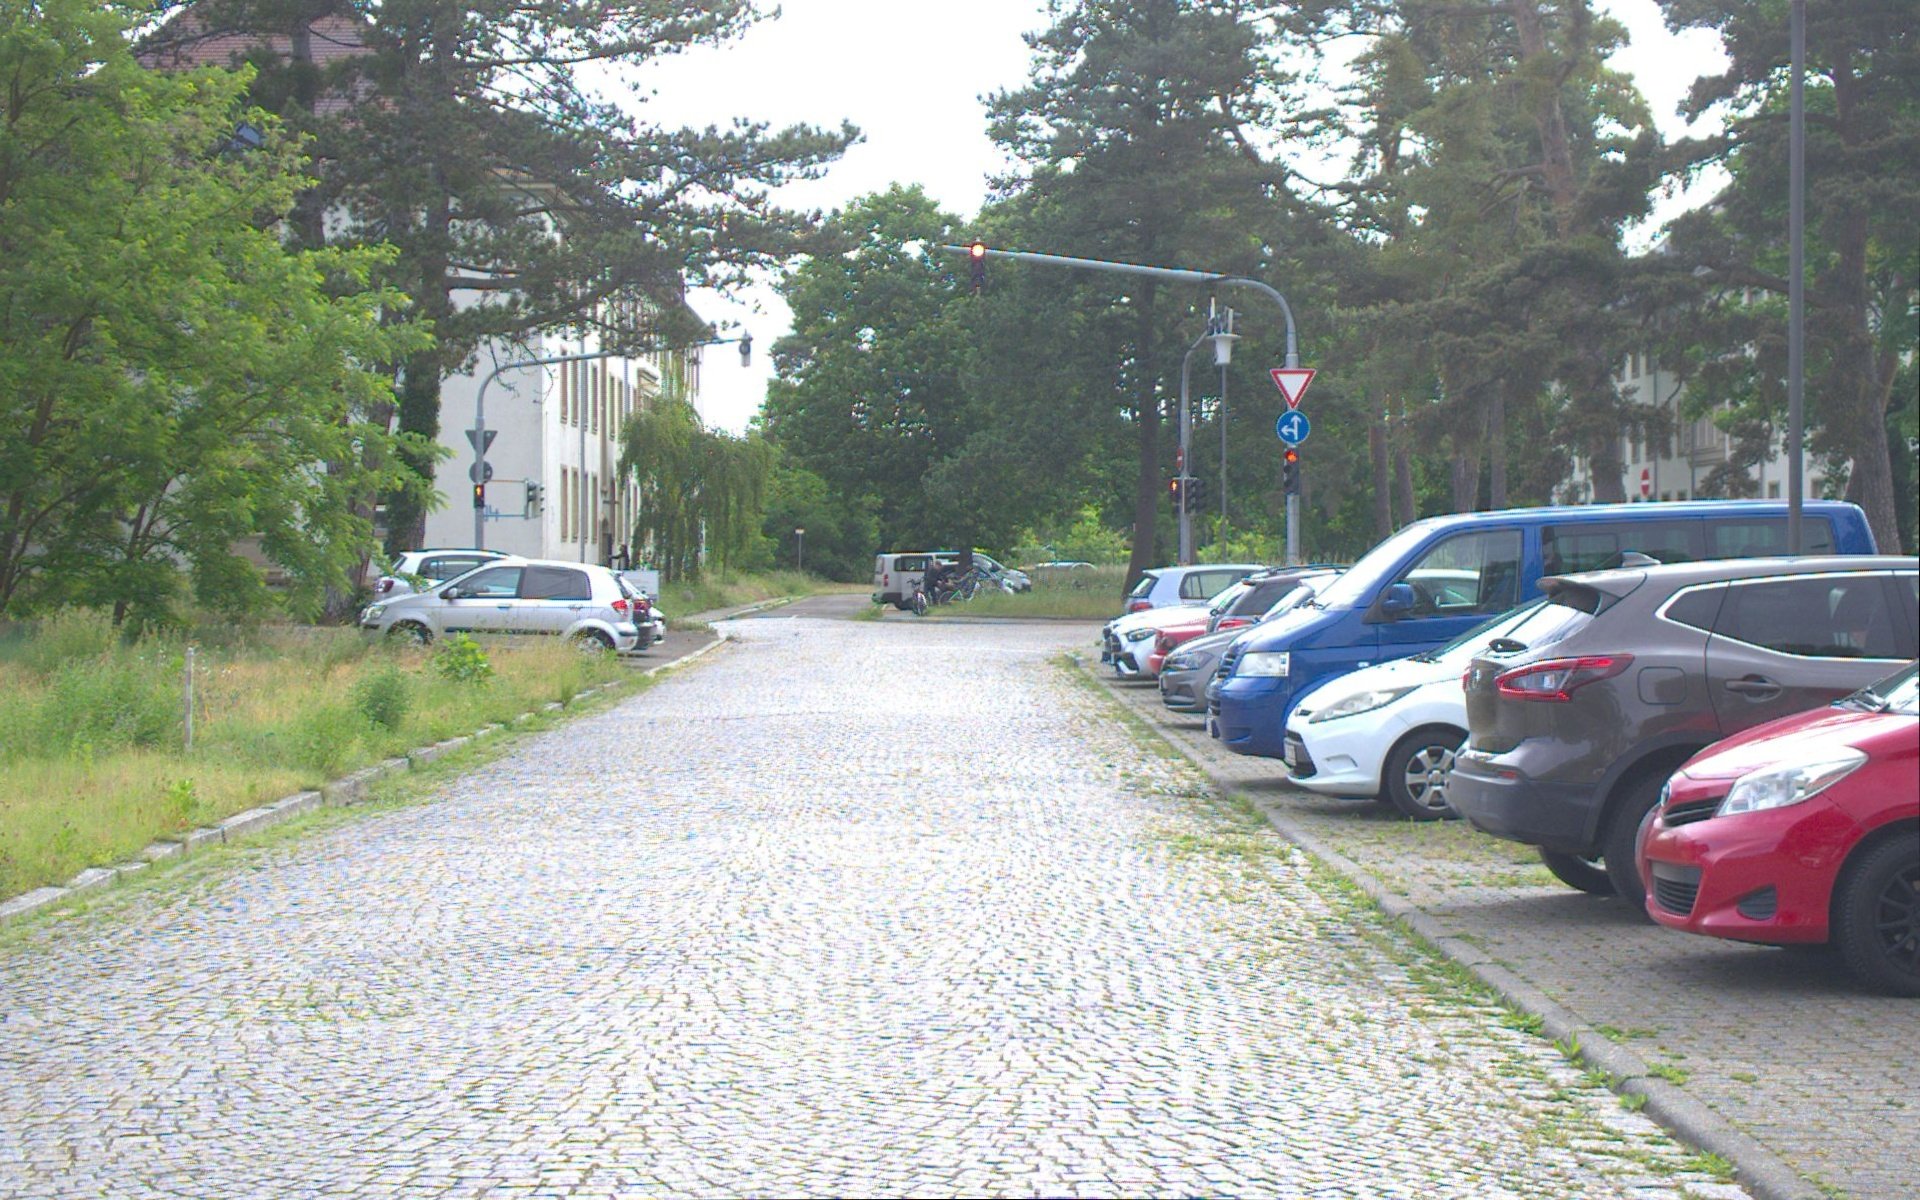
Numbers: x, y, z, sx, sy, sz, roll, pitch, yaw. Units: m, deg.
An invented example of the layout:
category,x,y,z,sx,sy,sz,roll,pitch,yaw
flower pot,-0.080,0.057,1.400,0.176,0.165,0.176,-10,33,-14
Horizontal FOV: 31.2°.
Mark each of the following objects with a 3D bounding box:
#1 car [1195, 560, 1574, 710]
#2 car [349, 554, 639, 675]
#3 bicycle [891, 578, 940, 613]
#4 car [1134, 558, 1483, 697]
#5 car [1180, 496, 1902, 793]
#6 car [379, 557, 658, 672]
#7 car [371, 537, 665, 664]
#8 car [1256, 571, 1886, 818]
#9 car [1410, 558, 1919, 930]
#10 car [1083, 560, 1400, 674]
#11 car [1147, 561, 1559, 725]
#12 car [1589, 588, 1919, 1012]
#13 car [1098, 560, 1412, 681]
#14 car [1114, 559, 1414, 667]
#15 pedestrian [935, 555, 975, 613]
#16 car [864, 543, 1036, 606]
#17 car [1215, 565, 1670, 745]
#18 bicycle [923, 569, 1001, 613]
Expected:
category,x,y,z,sx,sy,sz,roll,pitch,yaw
car,4.361,0.346,35.620,3.671,1.444,1.524,-1,0,-2
car,-6.373,0.192,47.284,3.821,1.567,1.564,-1,0,-3
bicycle,-1.212,-0.125,93.222,0.620,0.942,1.663,1,1,-28
car,3.854,0.291,38.325,3.671,1.444,1.524,-1,0,-2
car,4.061,0.295,24.573,4.754,1.948,1.931,-1,0,-2
car,-6.356,0.203,49.701,3.821,1.567,1.564,-1,0,-1
car,-6.736,0.006,52.686,4.262,1.834,1.744,-1,0,-1
car,3.842,0.576,21.982,3.671,1.444,1.615,-1,0,-3
car,4.211,0.585,15.605,4.028,1.547,1.751,-1,0,-3
car,3.709,0.214,45.718,3.967,1.416,1.620,-1,0,-5
car,3.691,0.394,32.631,3.671,1.444,1.524,-1,0,-2
car,4.439,0.675,12.947,3.792,1.455,1.751,-1,0,0
car,3.653,0.242,42.863,3.671,1.416,1.524,-1,0,-5
car,4.253,0.167,48.369,3.967,1.416,1.620,-1,0,-5
pedestrian,-0.148,-0.459,97.633,1.033,1.608,0.757,1,0,-5
car,-0.359,-0.869,115.198,5.444,2.007,2.269,1,1,-9
car,4.143,0.460,29.853,3.671,1.444,1.524,-1,0,-2
bicycle,0.054,-0.248,97.293,2.136,1.210,0.622,1,0,-5
